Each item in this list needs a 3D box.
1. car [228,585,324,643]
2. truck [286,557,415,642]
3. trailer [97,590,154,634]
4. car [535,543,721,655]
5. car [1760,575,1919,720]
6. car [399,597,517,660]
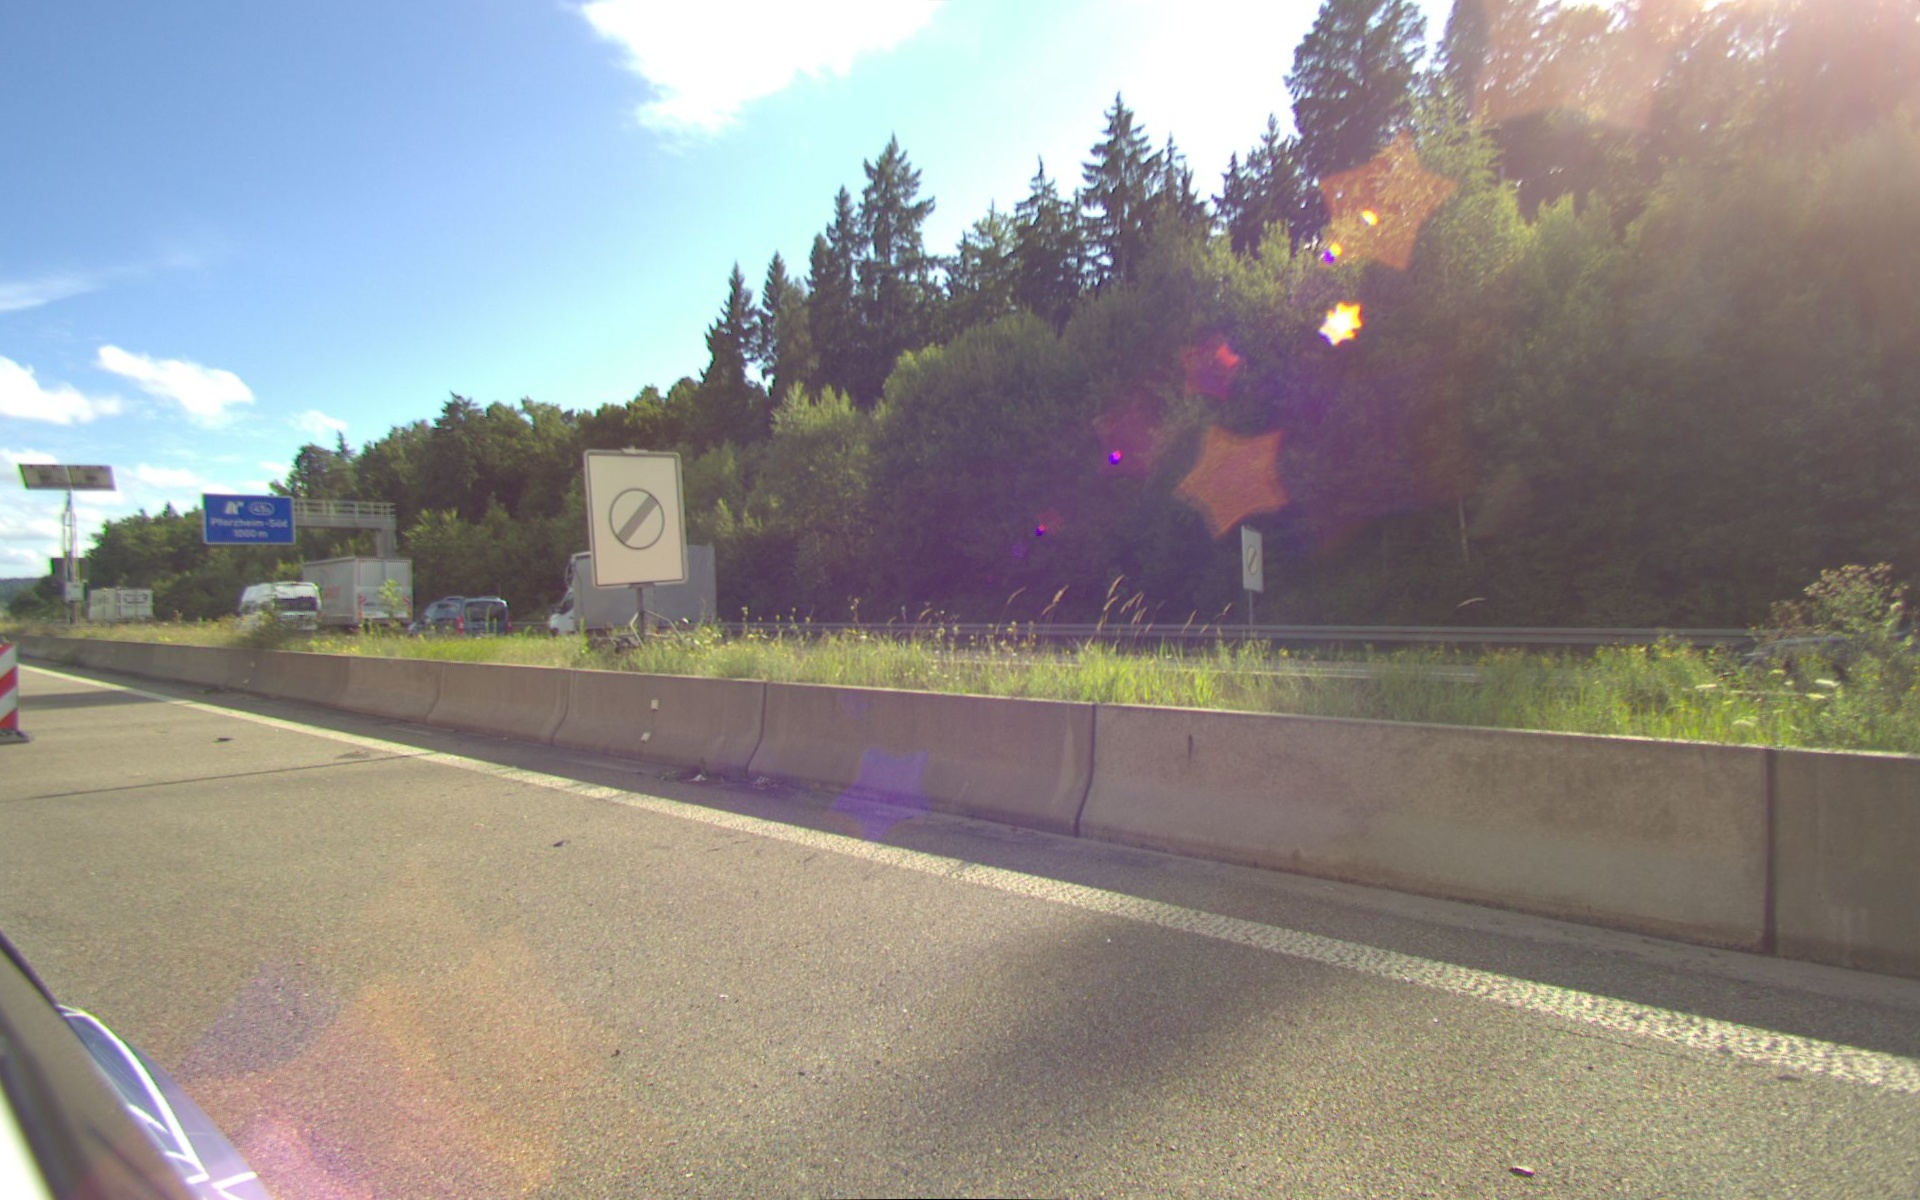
[{"bbox_3d":[-31.537,0.648,46.544,6.329,2.470,2.137,-1,0,42],"label":"car"},{"bbox_3d":[-31.693,0.059,52.359,10.181,4.022,2.771,-1,-1,41],"label":"truck"},{"bbox_3d":[-76.698,1.091,92.963,8.484,3.953,2.762,-1,0,41],"label":"trailer"},{"bbox_3d":[-11.313,-0.001,34.083,7.448,3.395,2.461,-1,0,41],"label":"car"},{"bbox_3d":[10.539,0.445,9.788,4.309,1.398,1.760,-1,0,42],"label":"car"},{"bbox_3d":[-15.949,0.859,32.067,4.117,1.826,1.924,-1,0,41],"label":"car"}]
